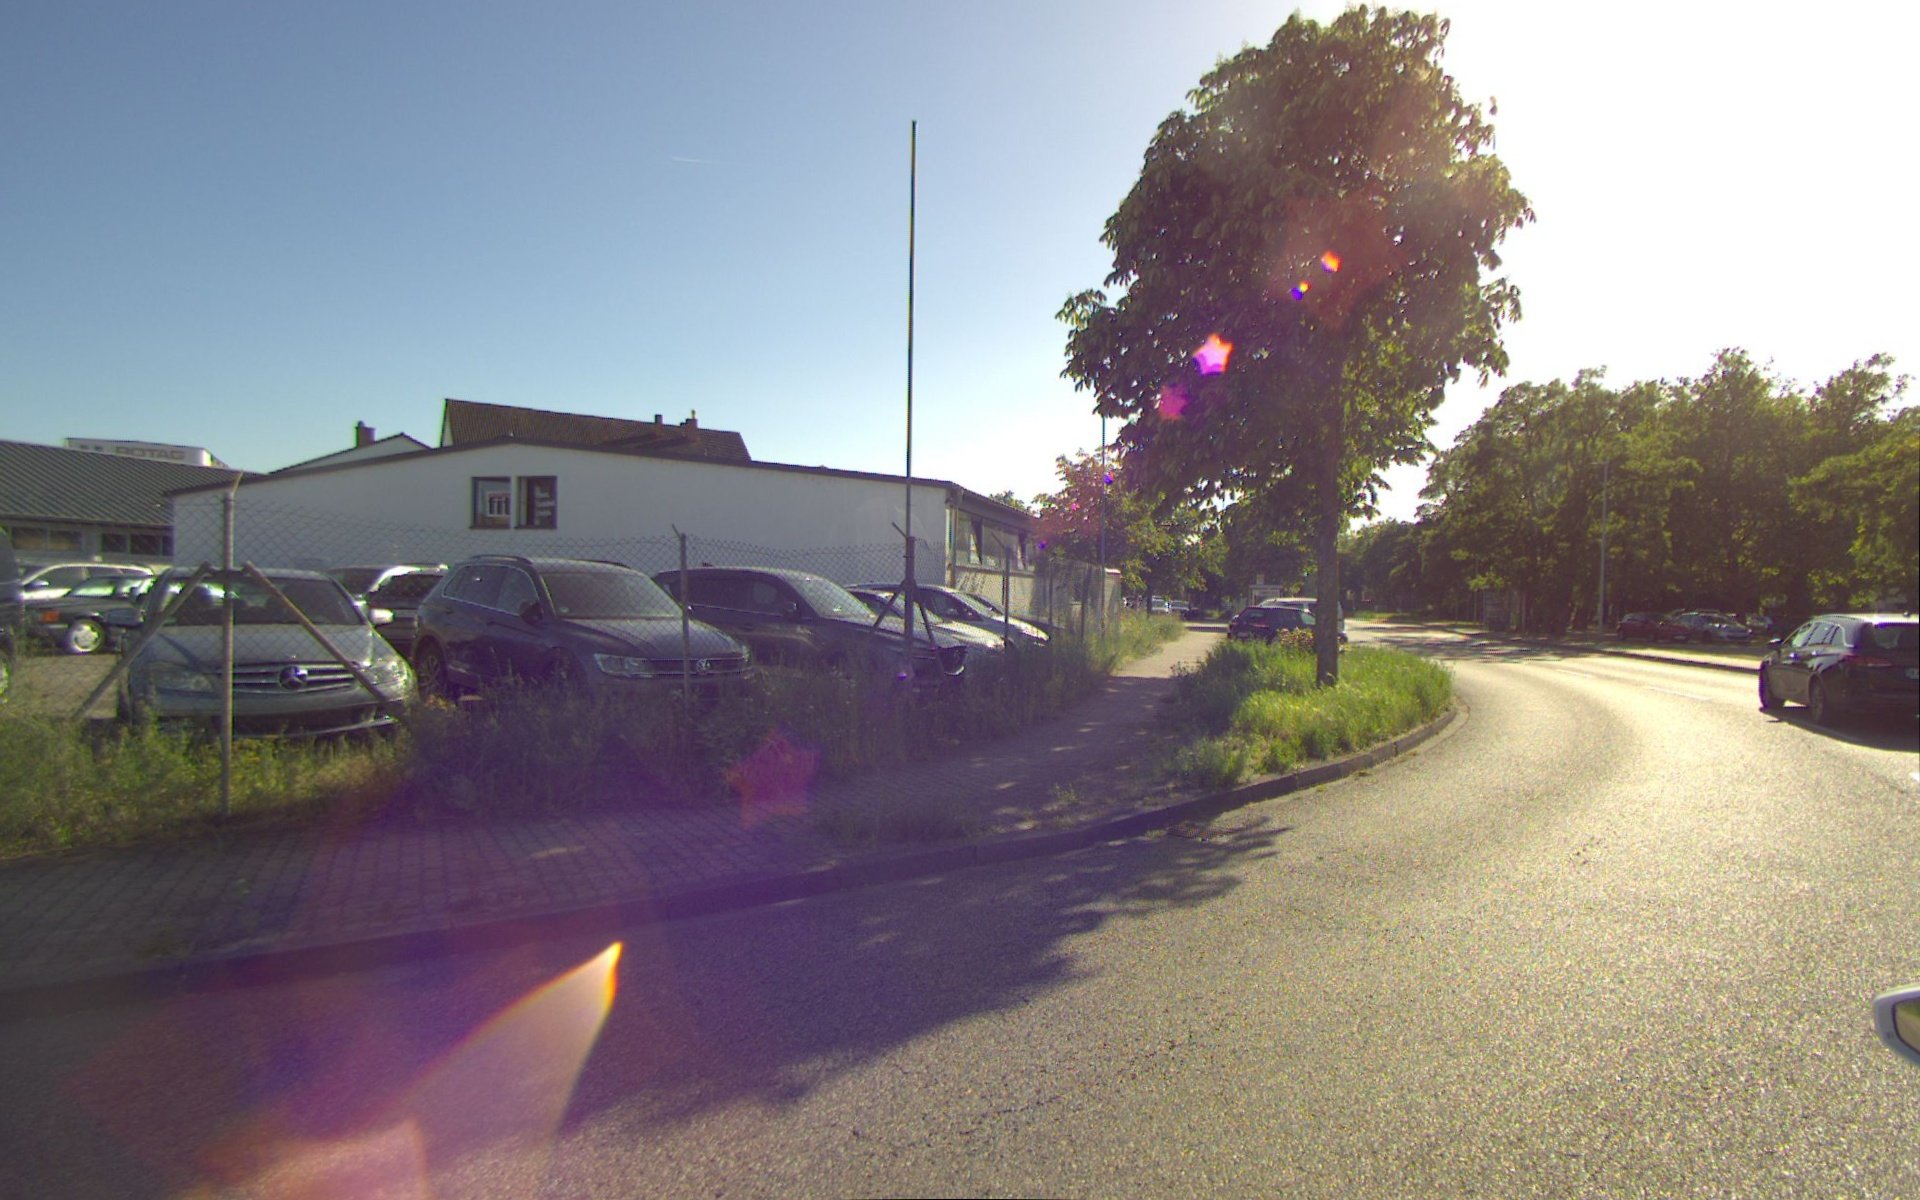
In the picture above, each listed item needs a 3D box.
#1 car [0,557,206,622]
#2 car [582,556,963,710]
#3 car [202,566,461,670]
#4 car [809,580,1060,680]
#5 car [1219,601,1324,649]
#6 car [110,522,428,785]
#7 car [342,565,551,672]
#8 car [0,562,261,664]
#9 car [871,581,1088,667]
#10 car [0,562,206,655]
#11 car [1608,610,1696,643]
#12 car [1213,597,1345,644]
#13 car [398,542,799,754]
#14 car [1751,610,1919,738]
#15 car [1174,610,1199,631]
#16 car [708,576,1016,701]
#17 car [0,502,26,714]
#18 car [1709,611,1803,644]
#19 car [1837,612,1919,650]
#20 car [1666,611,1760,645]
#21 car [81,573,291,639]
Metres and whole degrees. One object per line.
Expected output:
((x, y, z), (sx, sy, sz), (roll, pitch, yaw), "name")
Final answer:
((-24.238, -0.284, 28.428), (1.803, 1.671, 4.405), (1, 0, 17), "car")
((-2.307, 0.332, 12.523), (4.317, 1.671, 1.840), (1, 0, 19), "car")
((-11.323, 0.282, 18.531), (1.803, 1.671, 4.405), (1, 0, 4), "car")
((-0.447, 0.507, 18.796), (4.316, 1.671, 1.841), (1, 0, 17), "car")
((10.536, 0.803, 33.760), (1.813, 1.456, 4.383), (1, 0, 40), "car")
((-6.112, 0.320, 8.653), (1.825, 1.671, 4.352), (1, 0, -40), "car")
((-9.020, 0.289, 18.107), (1.805, 1.671, 4.400), (1, 0, -5), "car")
((-15.796, 0.199, 18.700), (1.803, 1.671, 4.405), (1, 0, 17), "car")
((0.451, 0.466, 21.664), (4.316, 1.671, 1.841), (1, 0, 17), "car")
((-17.760, 0.136, 19.819), (1.803, 1.671, 4.405), (1, 0, 17), "car")
((34.570, 1.297, 50.338), (1.959, 1.504, 4.929), (1, 0, 14), "car")
((11.731, 0.751, 37.002), (4.328, 1.631, 1.835), (1, 0, -14), "car")
((-3.749, 0.352, 10.026), (4.337, 1.671, 1.832), (1, 0, 40), "car")
((12.786, 0.907, 14.005), (1.913, 1.508, 4.559), (0, 0, 27), "car")
((17.210, 1.559, 76.409), (1.803, 1.456, 4.406), (1, 0, 13), "car")
((-1.477, 0.512, 15.375), (4.317, 1.671, 1.840), (1, 0, 19), "car")
((-8.635, 0.087, 7.228), (1.819, 1.918, 4.810), (1, 0, -31), "car")
((41.519, 1.396, 52.553), (1.959, 1.504, 4.929), (1, 0, 14), "car")
((41.258, 1.324, 44.180), (1.959, 1.504, 4.929), (1, 0, 14), "car")
((37.442, 1.371, 50.090), (1.959, 1.504, 4.929), (1, 0, 14), "car")
((-21.320, 0.145, 27.907), (1.803, 1.671, 4.405), (1, 0, 17), "car")
